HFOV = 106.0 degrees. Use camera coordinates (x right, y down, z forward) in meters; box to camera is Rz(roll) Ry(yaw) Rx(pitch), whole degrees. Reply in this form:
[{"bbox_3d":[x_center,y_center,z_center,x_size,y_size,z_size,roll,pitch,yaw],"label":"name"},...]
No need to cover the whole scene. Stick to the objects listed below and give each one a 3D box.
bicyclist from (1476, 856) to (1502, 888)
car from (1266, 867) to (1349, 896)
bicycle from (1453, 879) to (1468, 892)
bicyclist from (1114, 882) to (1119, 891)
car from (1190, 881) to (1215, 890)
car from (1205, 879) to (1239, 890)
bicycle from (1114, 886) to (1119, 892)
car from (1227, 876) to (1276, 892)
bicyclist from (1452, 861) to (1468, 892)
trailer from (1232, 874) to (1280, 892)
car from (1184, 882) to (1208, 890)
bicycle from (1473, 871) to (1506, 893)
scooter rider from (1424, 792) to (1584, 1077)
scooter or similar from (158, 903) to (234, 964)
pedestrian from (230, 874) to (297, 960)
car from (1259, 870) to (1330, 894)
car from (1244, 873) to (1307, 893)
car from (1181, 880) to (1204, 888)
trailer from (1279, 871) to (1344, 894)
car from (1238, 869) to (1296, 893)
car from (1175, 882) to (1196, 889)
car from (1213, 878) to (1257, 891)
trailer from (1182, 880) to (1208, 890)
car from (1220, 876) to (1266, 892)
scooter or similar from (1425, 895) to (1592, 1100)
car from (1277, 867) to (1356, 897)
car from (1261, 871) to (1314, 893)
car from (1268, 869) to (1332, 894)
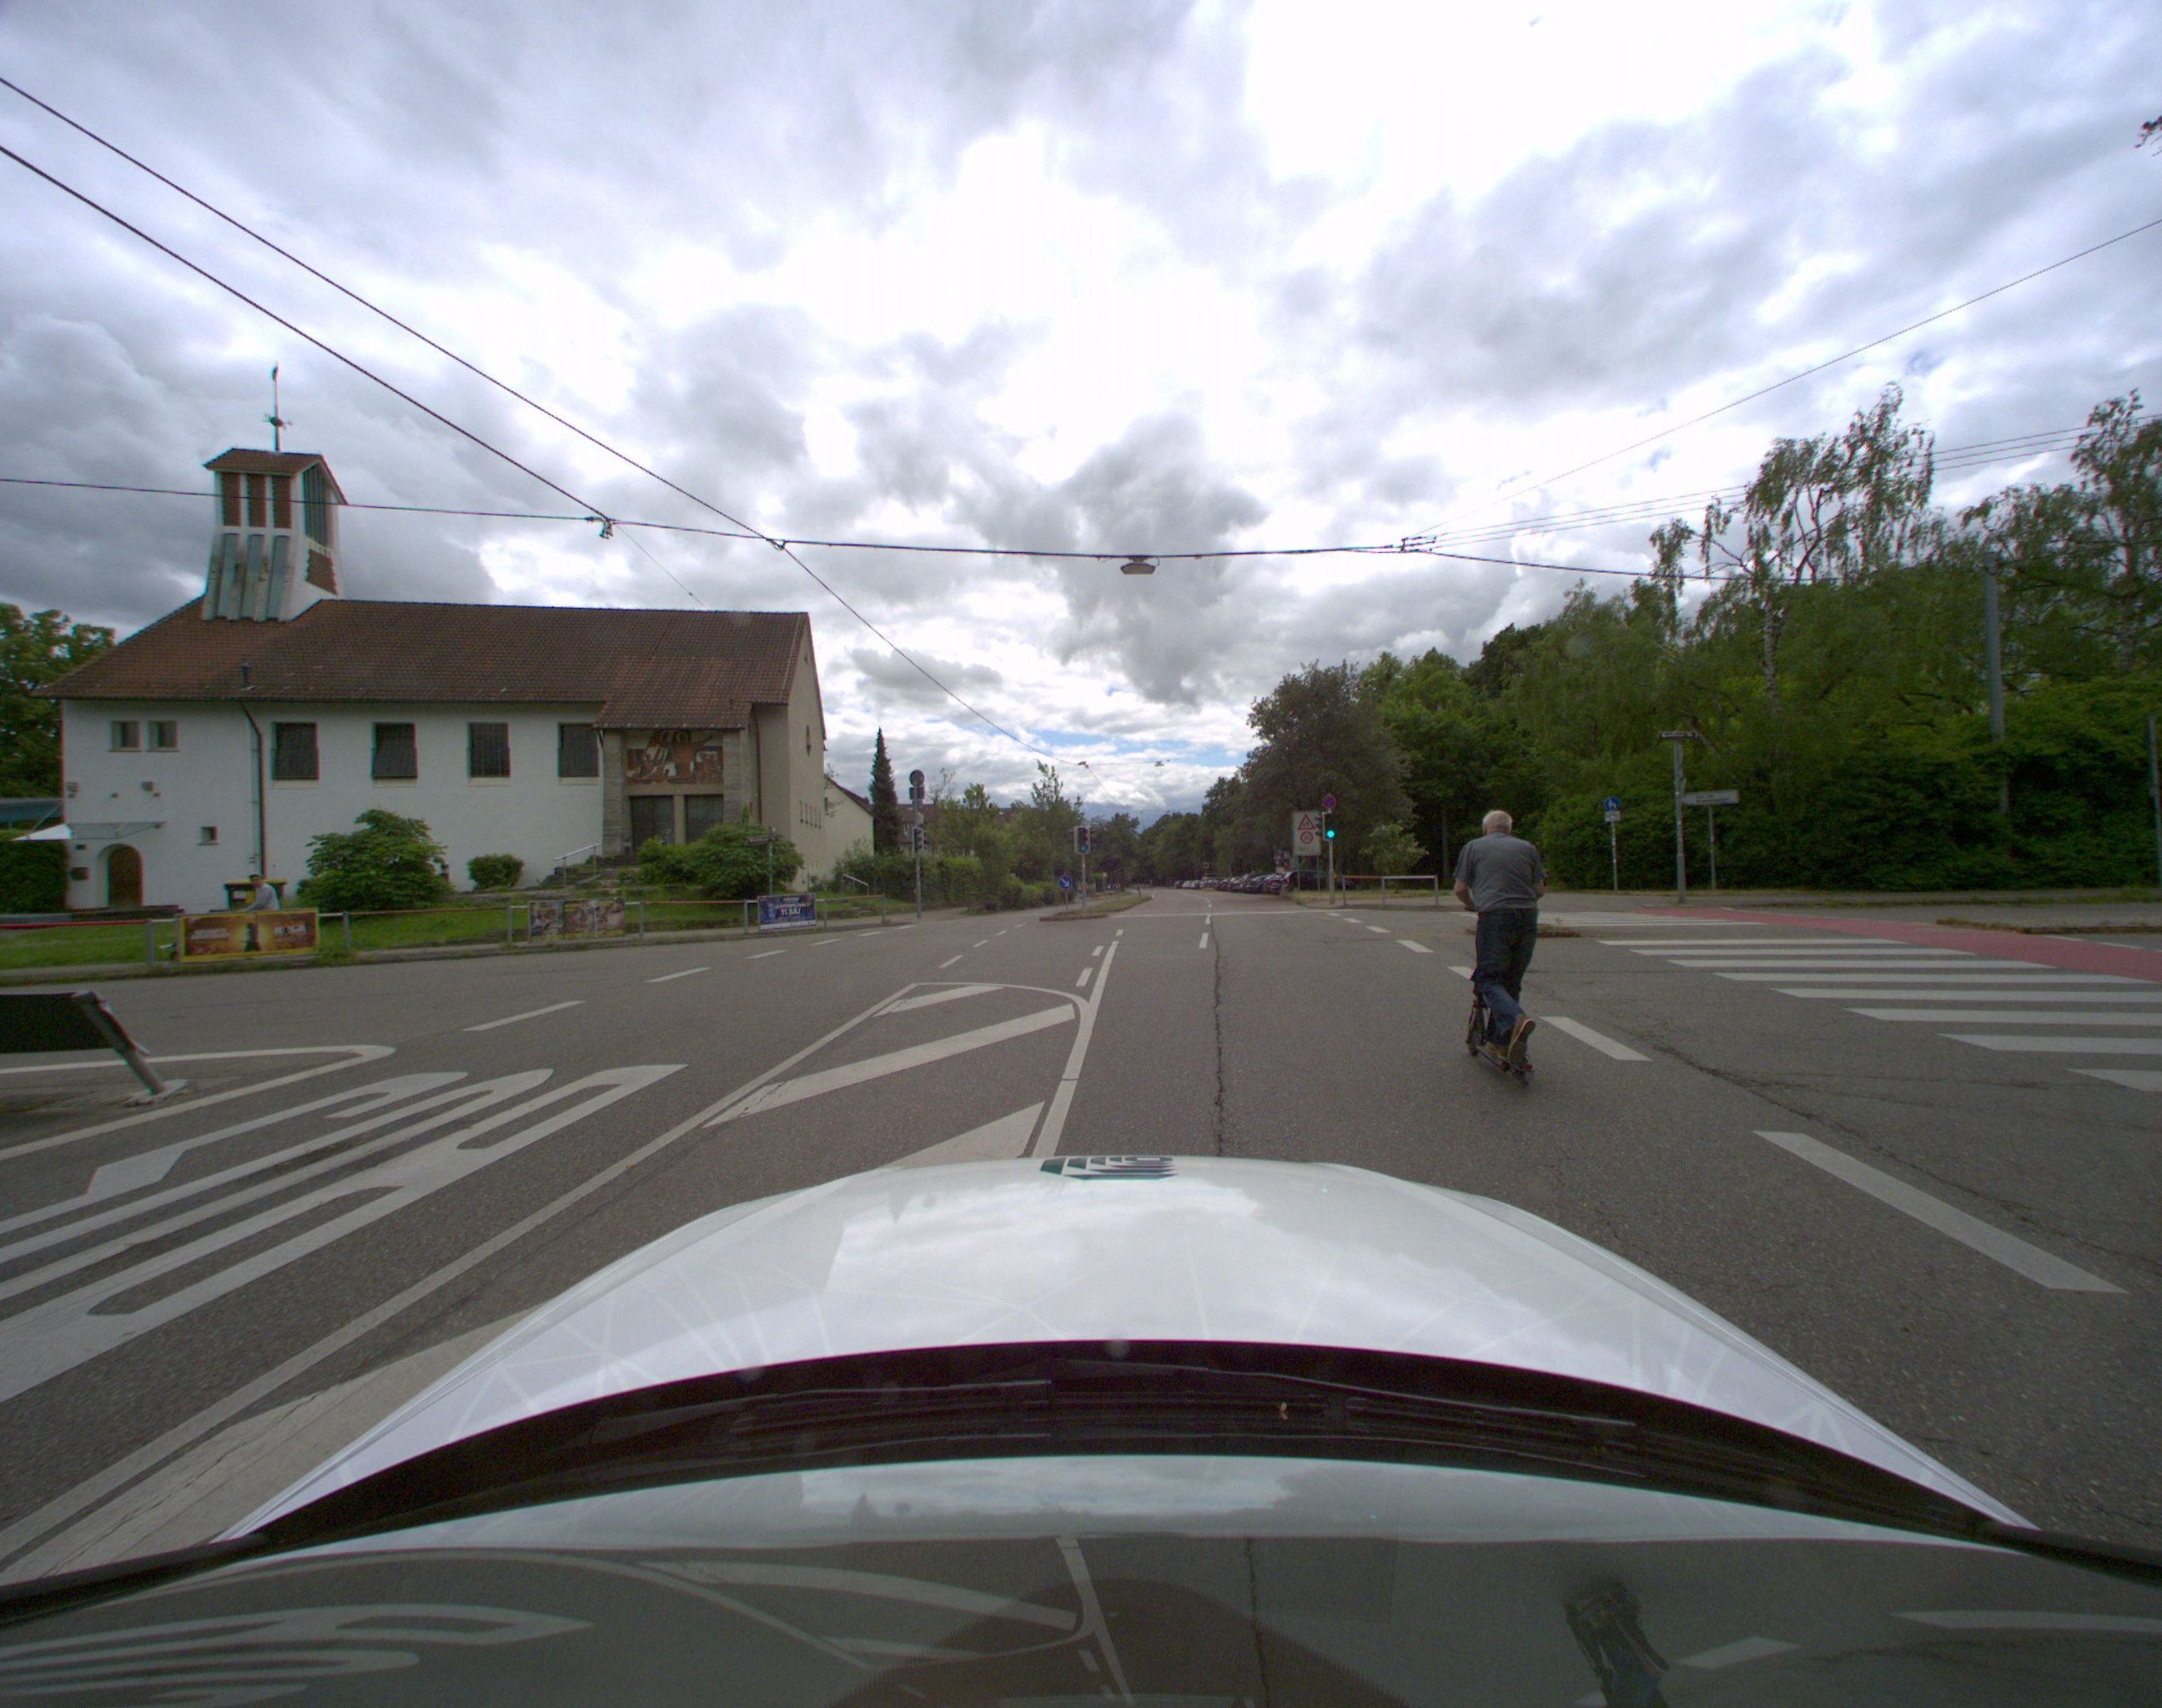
[{"bbox_3d":[15.563,0.678,31.060,0.636,1.162,0.805,-2,-2,9],"label":"bicyclist"},{"bbox_3d":[12.669,1.537,45.639,4.129,1.476,1.573,-1,-3,-6],"label":"car"},{"bbox_3d":[15.429,1.269,33.110,0.513,0.497,0.994,-4,-4,25],"label":"bicycle"},{"bbox_3d":[7.139,6.516,163.838,0.841,1.698,0.714,-2,-2,4],"label":"bicyclist"},{"bbox_3d":[20.750,5.353,139.433,3.893,1.449,1.733,-1,-3,-17],"label":"car"},{"bbox_3d":[18.374,3.972,106.320,3.965,1.406,1.750,0,-3,-10],"label":"car"},{"bbox_3d":[7.152,7.022,163.791,0.841,1.266,2.654,-2,-2,4],"label":"bicycle"},{"bbox_3d":[15.197,2.701,72.816,4.029,1.328,1.557,-1,-3,-4],"label":"car"},{"bbox_3d":[15.415,0.924,33.122,0.513,1.187,0.973,-4,-4,25],"label":"bicyclist"},{"bbox_3d":[15.176,2.522,70.660,3.684,1.535,1.642,-1,-2,-7],"label":"trailer"},{"bbox_3d":[20.350,5.618,144.342,3.897,1.310,1.732,-1,-3,-20],"label":"car"},{"bbox_3d":[15.573,1.055,31.076,0.636,0.758,1.685,-2,-1,9],"label":"bicycle"},{"bbox_3d":[2.844,0.493,5.605,0.676,1.730,1.201,-2,-1,15],"label":"scooter rider"},{"bbox_3d":[-16.968,1.511,15.644,0.894,1.095,0.605,2,-3,-41],"label":"scooter or similar"},{"bbox_3d":[-16.280,1.239,16.237,0.835,1.653,0.681,2,-3,-40],"label":"pedestrian"},{"bbox_3d":[13.967,1.827,53.399,4.211,1.464,1.632,-1,-2,-4],"label":"car"},{"bbox_3d":[14.338,2.148,60.142,4.154,1.407,1.694,-1,-3,-6],"label":"car"},{"bbox_3d":[20.891,5.698,152.701,3.891,1.429,1.734,-1,-3,-15],"label":"car"},{"bbox_3d":[13.694,1.722,48.493,3.396,1.267,1.613,-1,-3,-5],"label":"trailer"},{"bbox_3d":[14.368,2.116,63.034,3.978,1.725,1.677,-1,-3,-4],"label":"car"},{"bbox_3d":[20.907,6.318,162.722,3.891,1.429,1.734,-1,-3,-15],"label":"car"},{"bbox_3d":[16.726,3.292,88.562,4.311,1.341,1.728,-1,-3,-9],"label":"car"},{"bbox_3d":[19.849,5.405,141.688,4.160,1.573,1.703,0,-3,-15],"label":"trailer"},{"bbox_3d":[16.503,3.048,82.986,4.343,1.446,1.628,-1,-2,-10],"label":"car"},{"bbox_3d":[2.873,0.896,5.625,0.676,1.139,1.465,-2,0,15],"label":"scooter or similar"},{"bbox_3d":[12.435,1.460,43.170,3.700,1.476,1.577,-1,-2,2],"label":"car"},{"bbox_3d":[14.730,2.012,58.258,3.320,1.464,1.632,-1,-3,-5],"label":"car"},{"bbox_3d":[13.660,1.711,50.854,3.520,1.476,1.588,-1,-2,-7],"label":"car"}]
